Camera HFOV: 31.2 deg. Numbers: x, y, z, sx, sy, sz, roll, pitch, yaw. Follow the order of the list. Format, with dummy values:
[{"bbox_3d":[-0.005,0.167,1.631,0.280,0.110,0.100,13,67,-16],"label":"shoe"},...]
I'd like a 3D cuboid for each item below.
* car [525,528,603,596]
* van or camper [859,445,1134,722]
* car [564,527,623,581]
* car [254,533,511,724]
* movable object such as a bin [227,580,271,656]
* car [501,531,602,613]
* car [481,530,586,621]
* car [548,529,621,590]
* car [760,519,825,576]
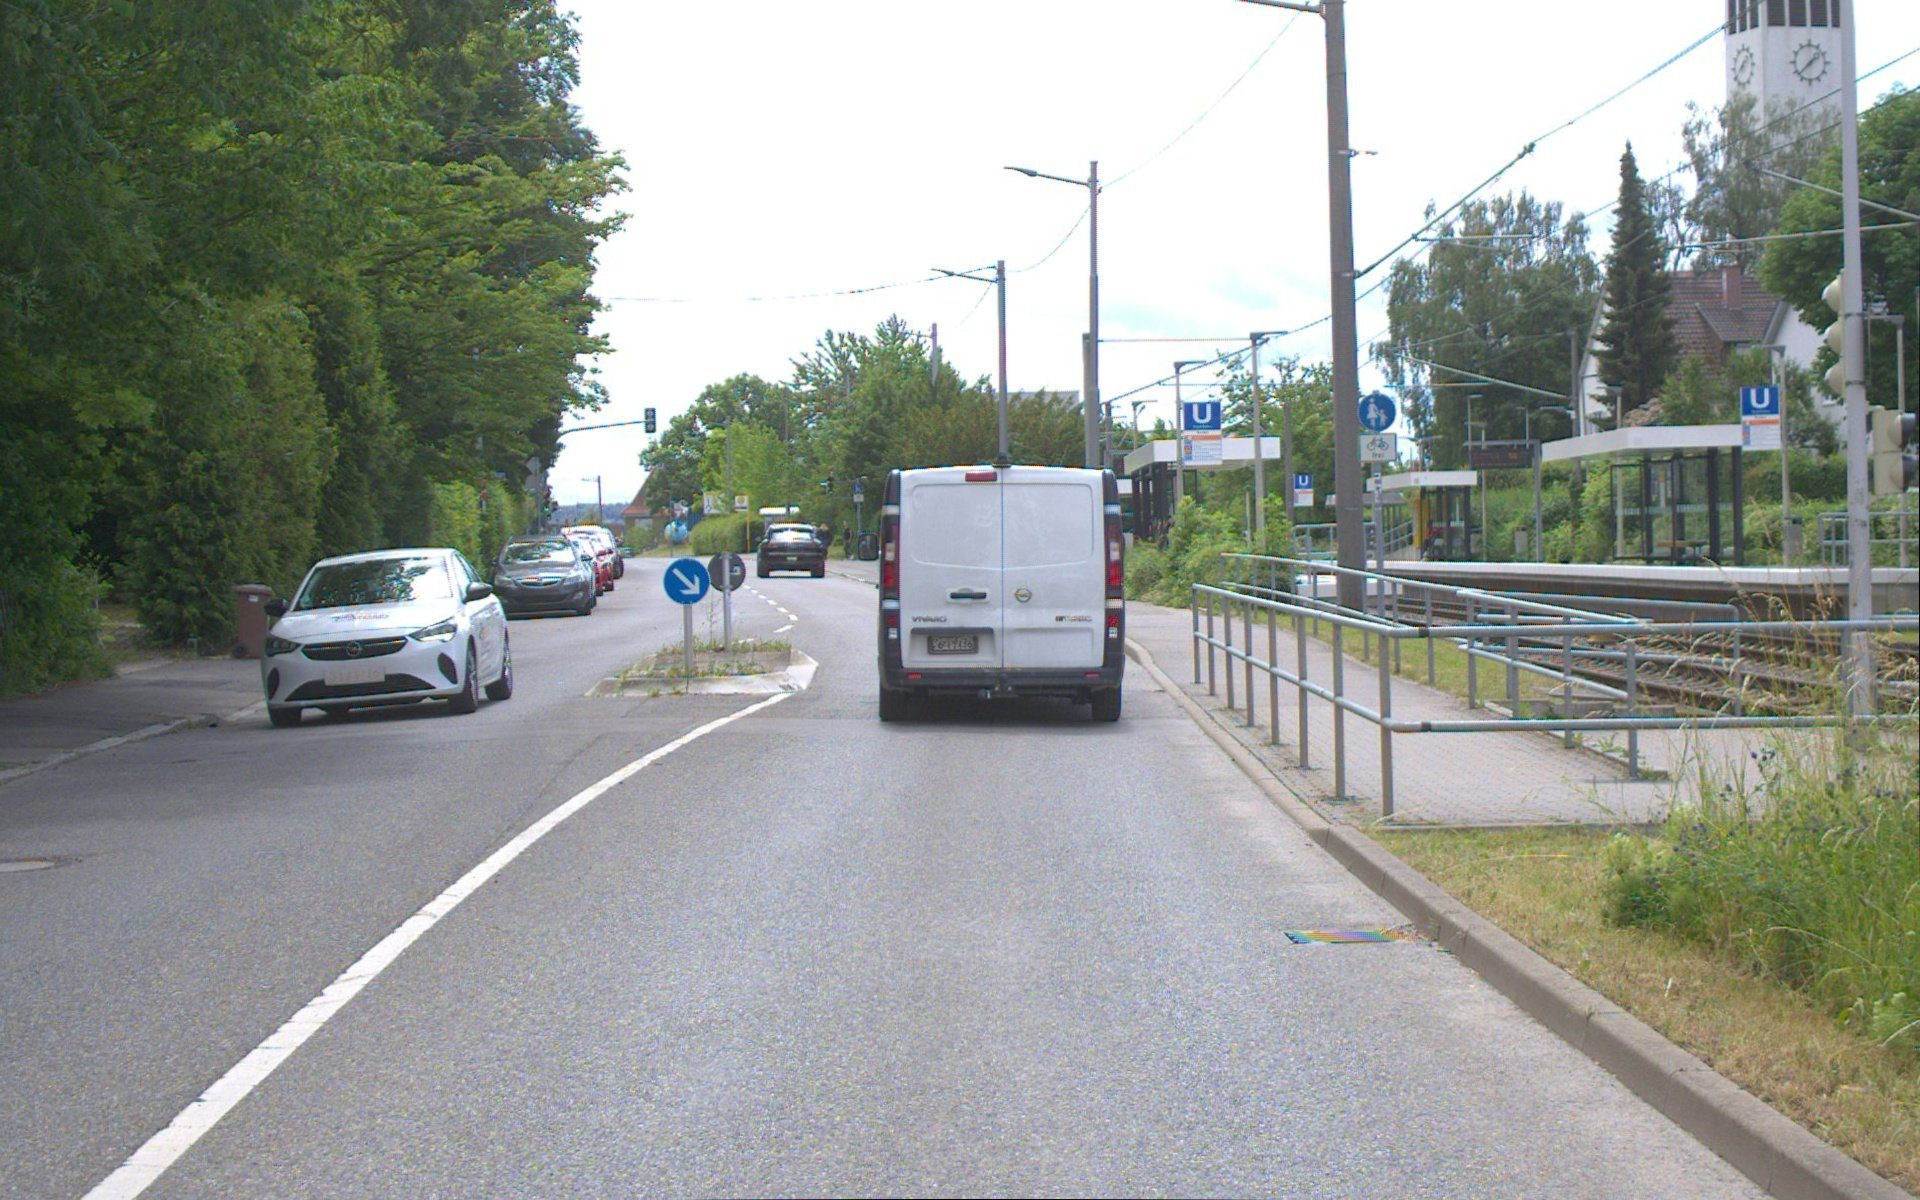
[{"bbox_3d":[-9.221,-0.907,80.181,1.588,1.499,3.515,-2,1,-4],"label":"car"},{"bbox_3d":[0.293,-0.144,27.381,1.993,2.007,4.446,0,1,1],"label":"van or camper"},{"bbox_3d":[-11.650,-1.465,109.258,1.761,1.620,4.187,-2,1,-6],"label":"car"},{"bbox_3d":[-4.893,0.196,29.569,1.693,1.425,3.787,-4,1,-3],"label":"car"},{"bbox_3d":[-8.994,0.227,43.485,0.462,0.927,0.430,2,0,-17],"label":"movable object such as a bin"},{"bbox_3d":[-8.096,-0.586,68.335,1.736,1.499,3.964,-3,1,-4],"label":"car"},{"bbox_3d":[-7.732,-0.476,62.568,1.736,1.499,4.478,-3,1,-6],"label":"car"},{"bbox_3d":[-9.596,-1.050,87.845,1.761,1.466,4.187,-2,1,-6],"label":"car"},{"bbox_3d":[-5.029,-1.592,103.583,1.852,1.642,3.735,-1,1,-2],"label":"car"}]
